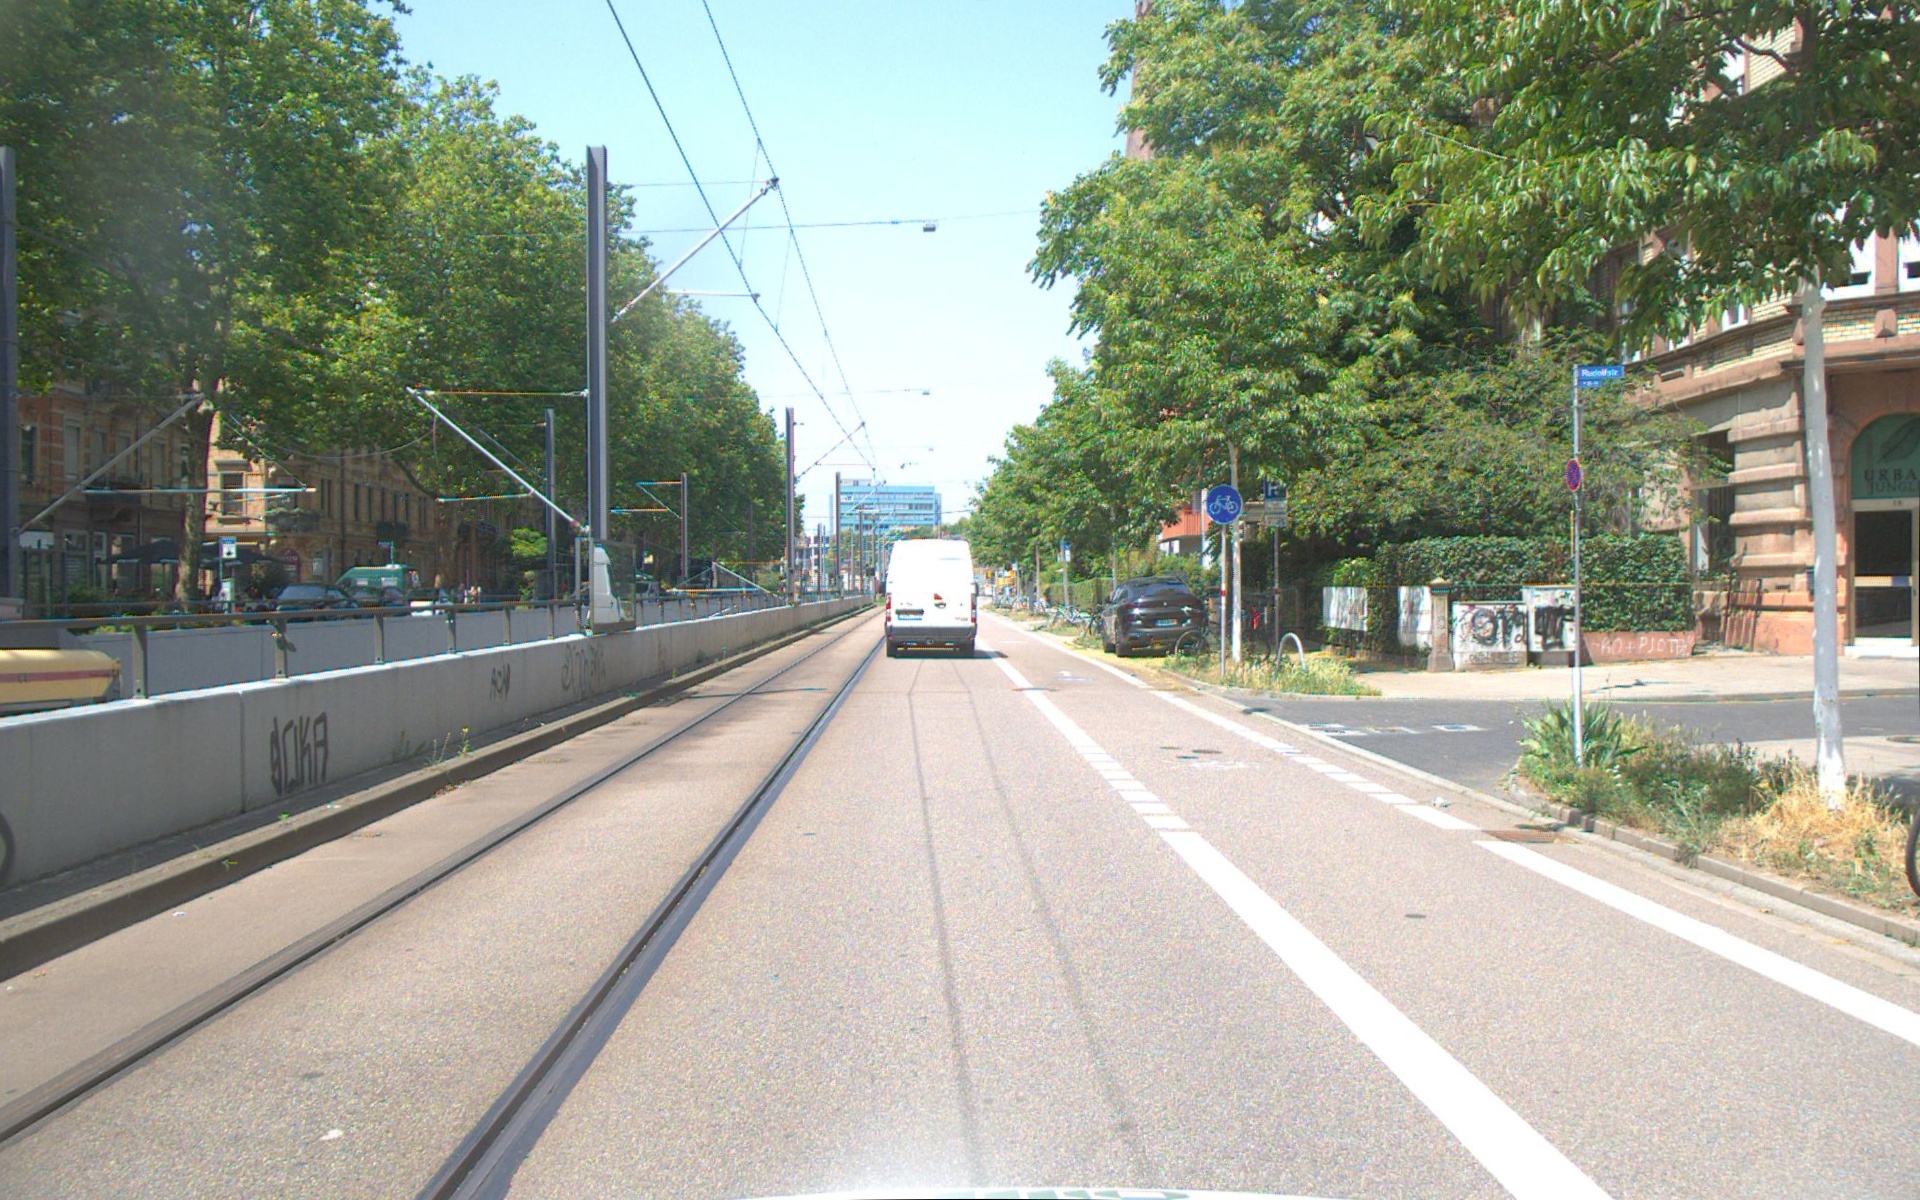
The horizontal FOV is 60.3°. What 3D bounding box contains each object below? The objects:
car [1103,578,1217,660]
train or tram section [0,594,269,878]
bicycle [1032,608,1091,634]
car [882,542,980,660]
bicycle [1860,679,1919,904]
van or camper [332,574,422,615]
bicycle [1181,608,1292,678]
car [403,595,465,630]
[{"bbox_3d":[4.463,0.399,37.404,2.112,1.699,4.001,-2,0,1],"label":"car"},{"bbox_3d":[-9.988,1.246,15.874,2.674,2.553,10.084,0,-1,-1],"label":"train or tram section"},{"bbox_3d":[3.581,0.711,57.671,1.526,0.841,4.004,0,0,11],"label":"bicycle"},{"bbox_3d":[-0.716,0.009,37.749,2.074,2.502,5.052,0,0,-2],"label":"car"},{"bbox_3d":[5.167,0.857,7.582,1.804,0.970,0.503,0,0,0],"label":"bicycle"},{"bbox_3d":[-29.956,-0.277,85.062,3.908,2.049,1.998,0,0,-4],"label":"van or camper"},{"bbox_3d":[4.874,0.750,29.193,1.850,1.202,0.640,0,0,-3],"label":"bicycle"},{"bbox_3d":[-26.437,0.621,83.193,1.953,1.713,3.999,0,0,-2],"label":"car"}]
